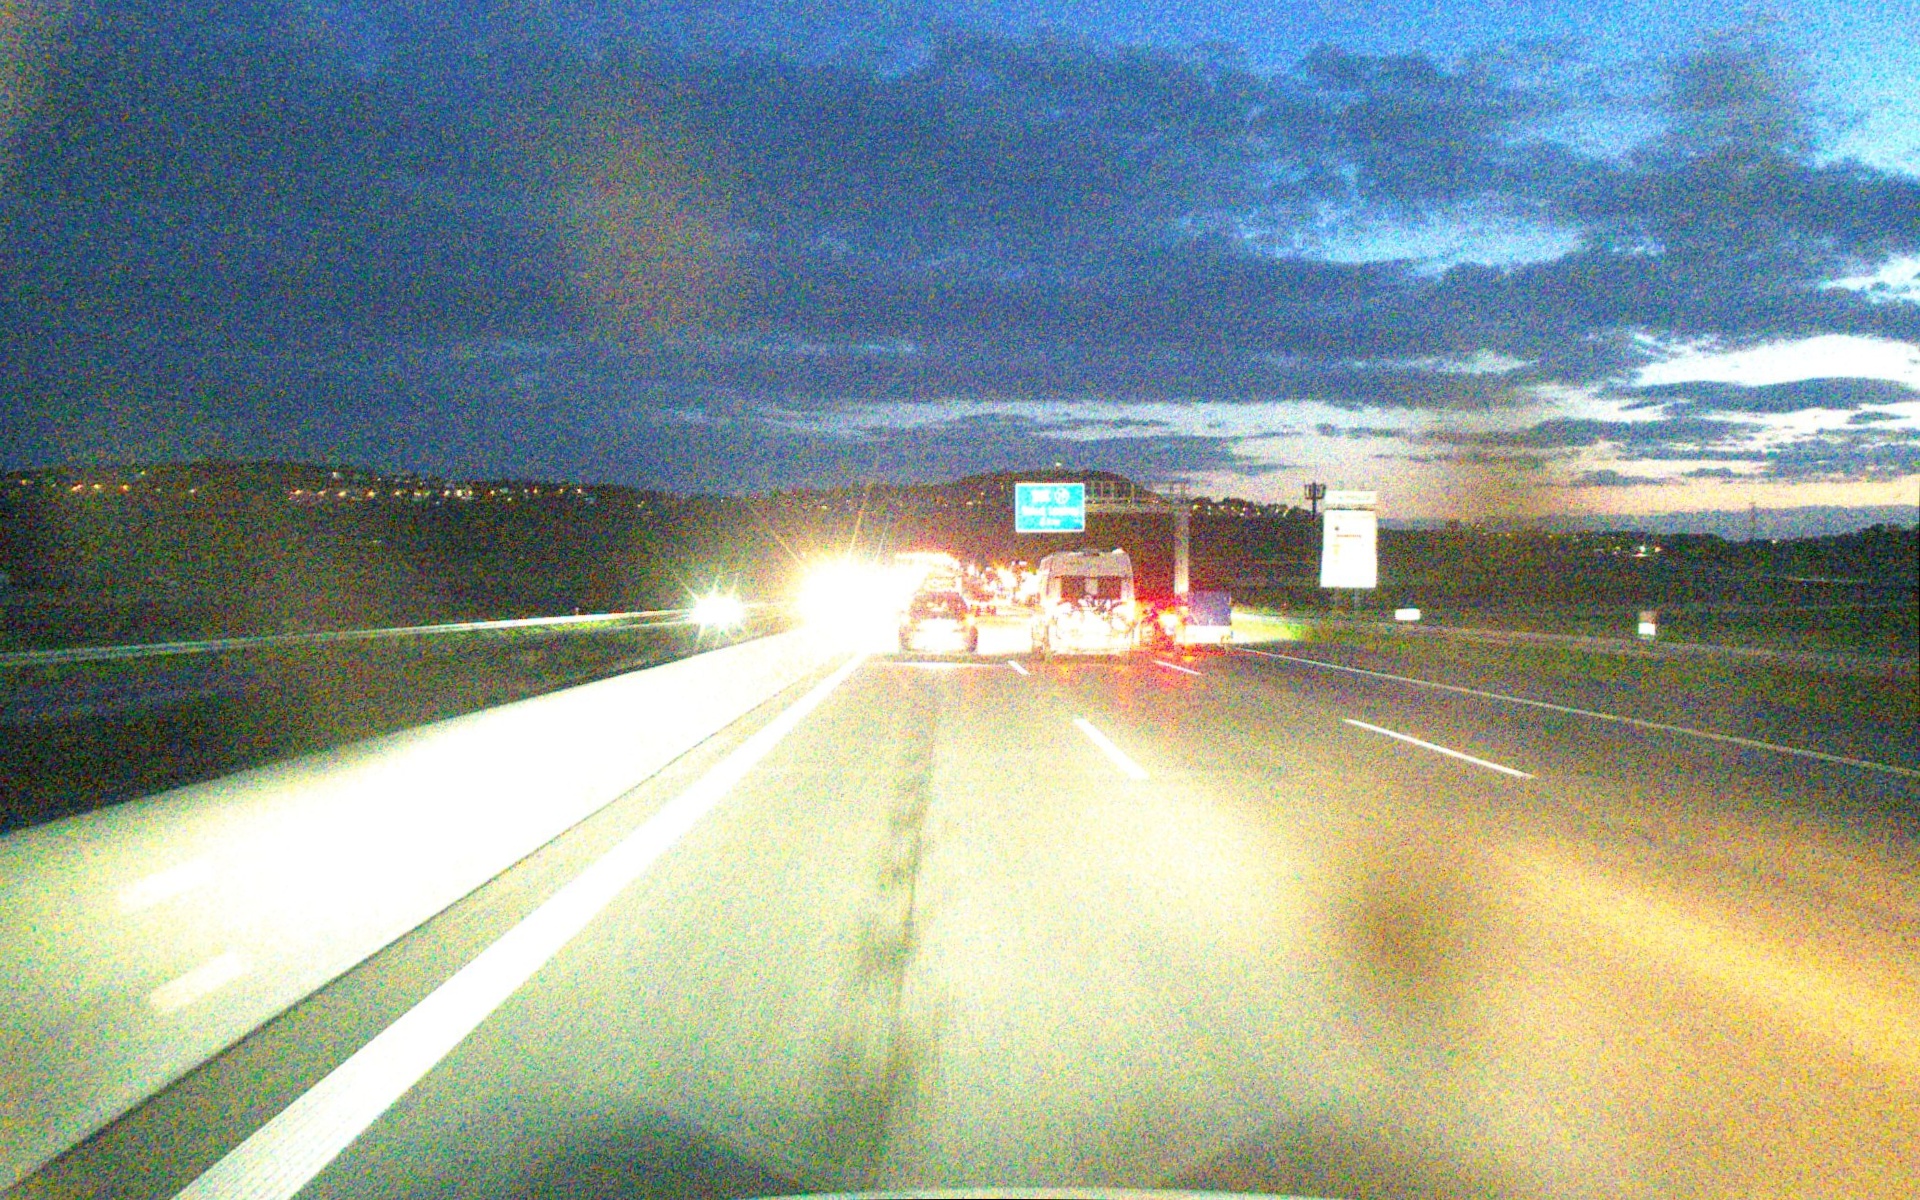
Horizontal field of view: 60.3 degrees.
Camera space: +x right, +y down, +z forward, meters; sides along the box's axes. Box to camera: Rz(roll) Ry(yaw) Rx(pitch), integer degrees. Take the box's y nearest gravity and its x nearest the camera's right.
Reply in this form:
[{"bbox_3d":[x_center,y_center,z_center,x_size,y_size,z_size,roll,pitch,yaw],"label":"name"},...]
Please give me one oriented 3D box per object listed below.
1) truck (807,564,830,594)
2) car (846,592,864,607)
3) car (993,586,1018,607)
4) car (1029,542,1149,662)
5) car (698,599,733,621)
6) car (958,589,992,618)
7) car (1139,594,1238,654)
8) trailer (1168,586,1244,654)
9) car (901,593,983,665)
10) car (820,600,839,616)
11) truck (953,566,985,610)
[{"bbox_3d":[-19.843,-2.909,232.209,2.725,4.024,7.989,-1,0,-2],"label":"truck"},{"bbox_3d":[-11.743,-0.054,185.562,1.775,1.671,4.157,-1,0,0],"label":"car"},{"bbox_3d":[4.647,-0.374,168.928,2.303,2.112,4.722,-1,1,0],"label":"car"},{"bbox_3d":[2.909,0.008,38.664,2.303,2.579,5.700,-1,1,0],"label":"car"},{"bbox_3d":[-18.282,0.716,123.918,1.953,1.504,5.043,-3,0,-2],"label":"car"},{"bbox_3d":[1.064,0.242,116.681,2.303,1.947,4.722,-1,0,0],"label":"car"},{"bbox_3d":[6.404,0.642,46.885,2.119,1.591,4.722,0,0,0],"label":"car"},{"bbox_3d":[6.393,0.499,43.246,1.534,1.723,2.820,0,0,-1],"label":"trailer"},{"bbox_3d":[-0.402,0.623,37.351,1.757,1.494,3.772,0,1,-1],"label":"car"},{"bbox_3d":[-14.068,0.876,178.475,1.775,1.671,4.157,-1,0,0],"label":"car"},{"bbox_3d":[0.811,-1.123,156.535,2.725,4.024,7.989,-1,0,-2],"label":"truck"}]
